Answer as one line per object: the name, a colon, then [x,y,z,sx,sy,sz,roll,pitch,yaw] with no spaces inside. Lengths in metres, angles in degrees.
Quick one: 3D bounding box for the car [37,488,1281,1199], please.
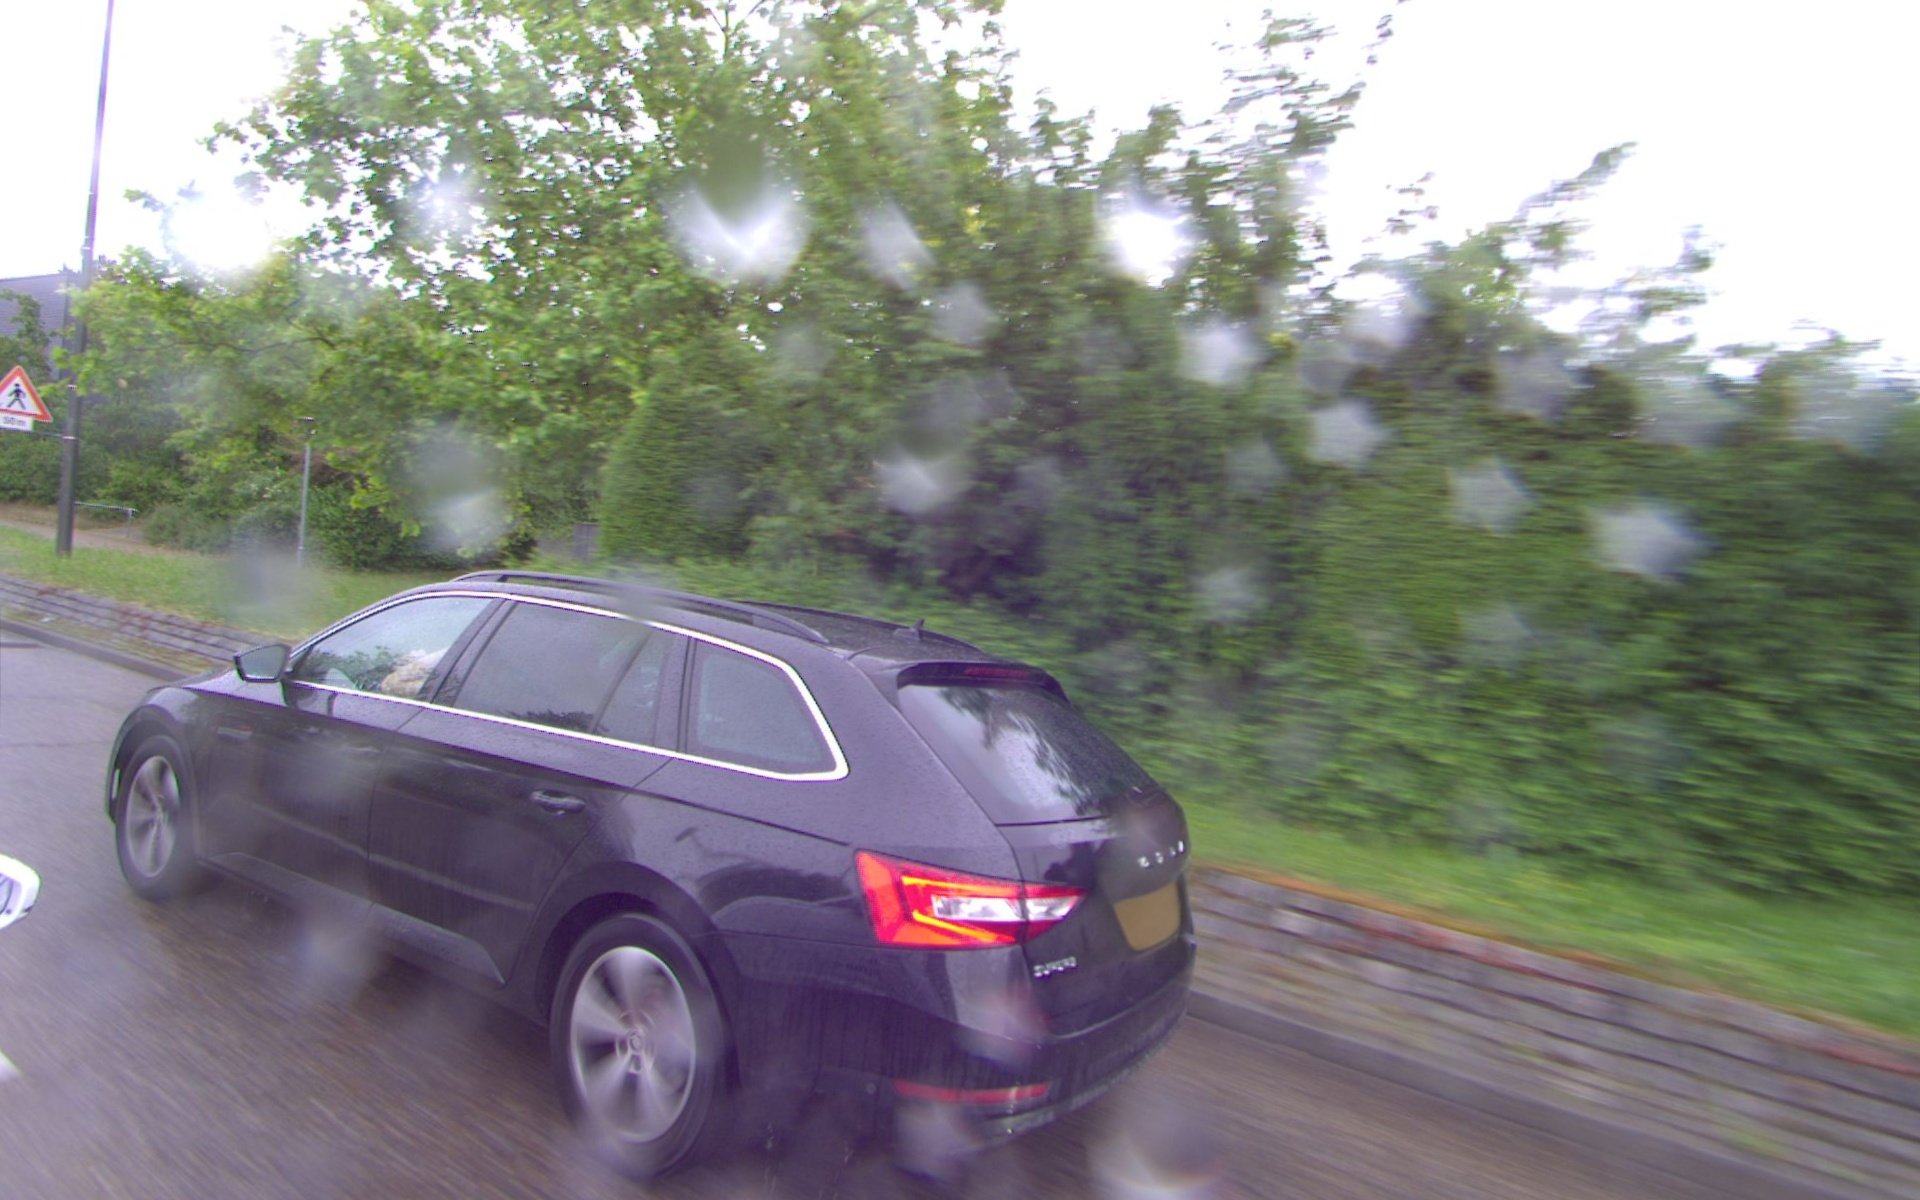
car: [-1.356,0.588,3.919,4.531,1.524,1.959,6,-4,31]
